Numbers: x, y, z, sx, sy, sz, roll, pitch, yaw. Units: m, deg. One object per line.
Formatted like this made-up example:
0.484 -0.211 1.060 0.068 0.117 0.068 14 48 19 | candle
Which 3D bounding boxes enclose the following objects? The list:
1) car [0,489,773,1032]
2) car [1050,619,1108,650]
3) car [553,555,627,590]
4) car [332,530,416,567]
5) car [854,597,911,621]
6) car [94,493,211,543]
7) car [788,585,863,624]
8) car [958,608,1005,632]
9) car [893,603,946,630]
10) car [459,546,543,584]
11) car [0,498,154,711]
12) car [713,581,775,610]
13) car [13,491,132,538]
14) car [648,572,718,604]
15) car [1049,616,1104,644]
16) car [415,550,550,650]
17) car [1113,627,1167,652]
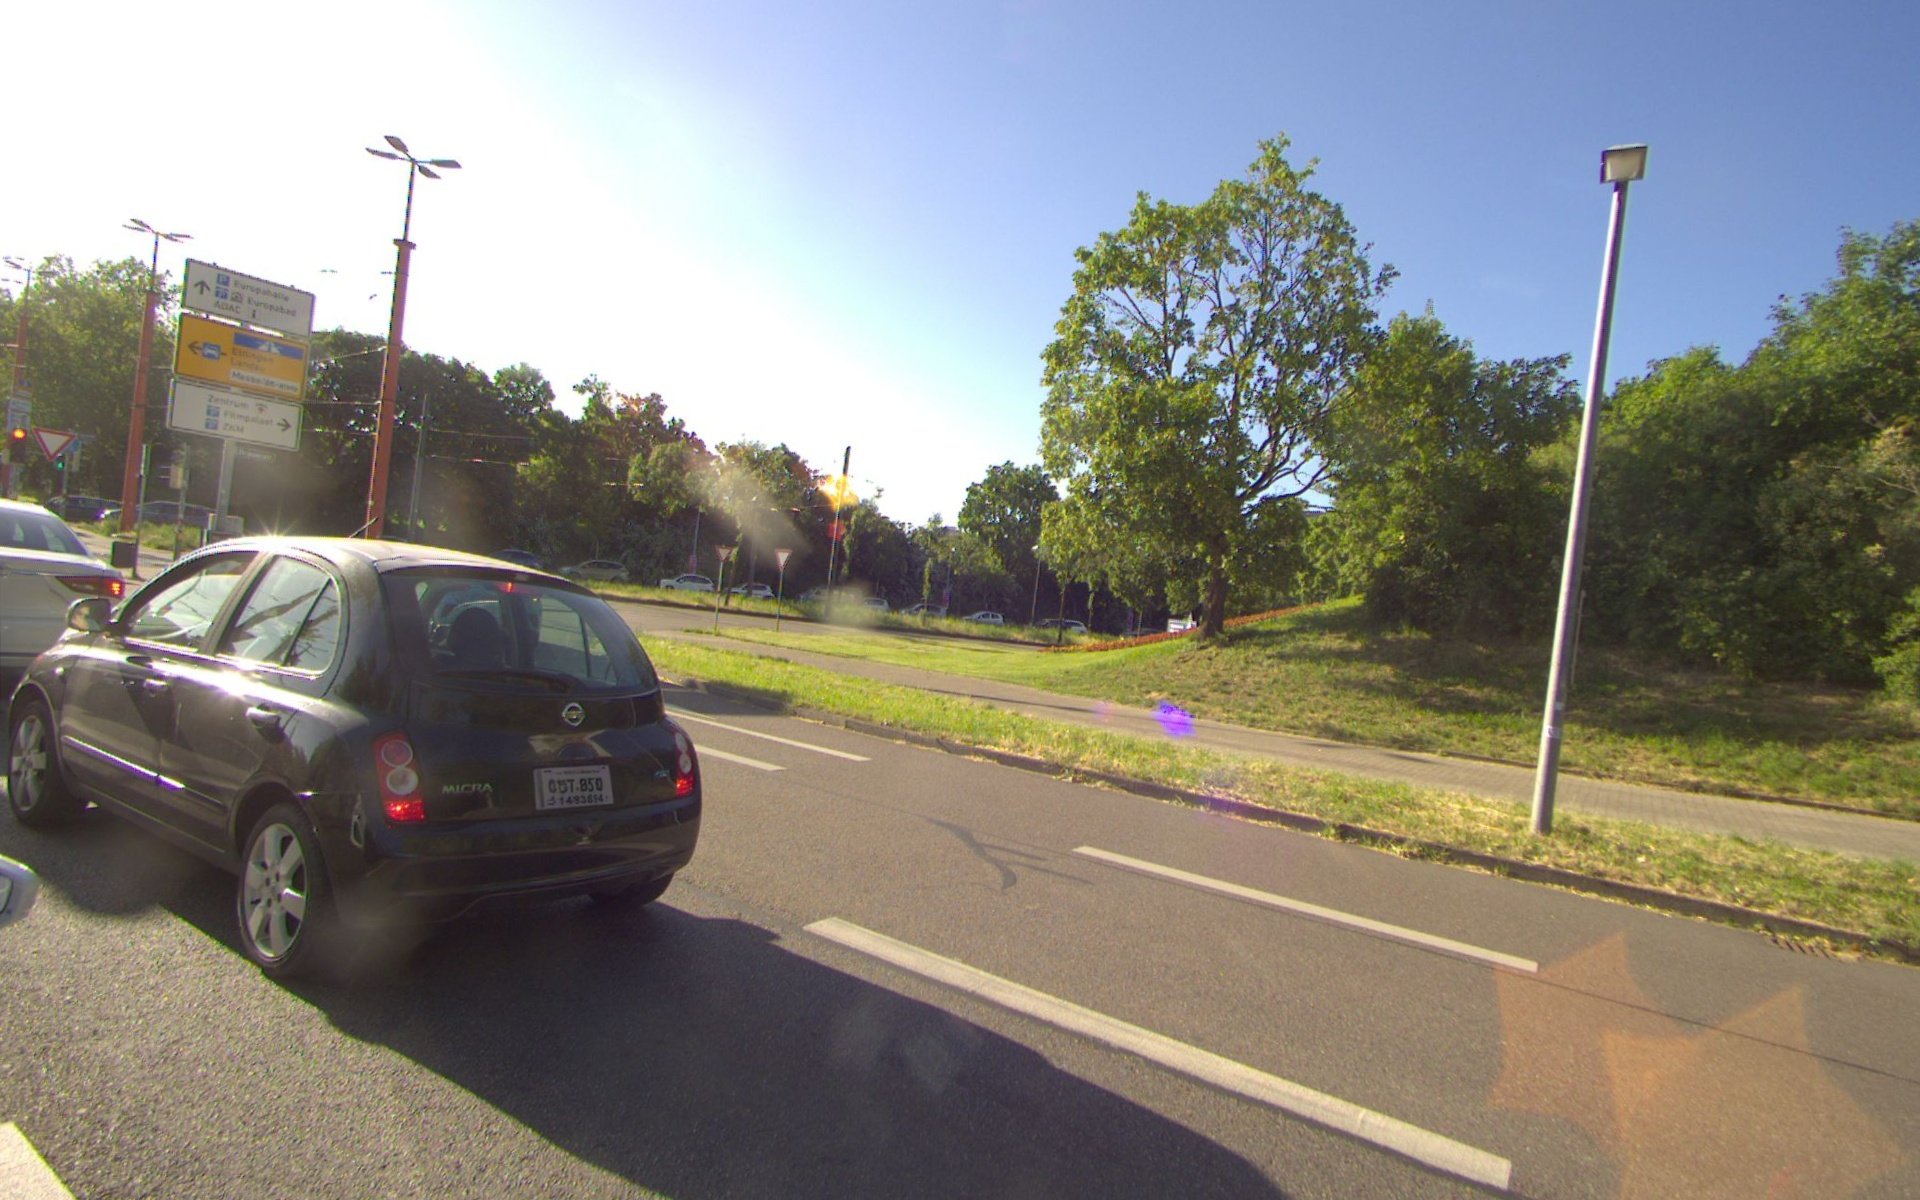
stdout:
-2.846 0.465 4.713 3.555 1.518 1.657 7 -2 32 | car
9.228 2.674 77.709 3.960 1.776 1.903 9 -2 -31 | car
-23.598 -1.775 64.186 4.088 1.663 1.839 8 -1 -30 | car
-33.226 -2.906 57.103 3.937 1.457 1.674 9 -2 -31 | car
-5.756 0.670 74.431 3.804 1.278 1.590 9 -3 -32 | car
-39.770 -4.007 49.695 4.152 1.663 1.746 9 -2 -32 | car
-9.156 0.291 68.432 4.531 2.038 1.987 8 0 -27 | car
1.685 1.532 78.357 3.413 1.384 1.280 9 -2 -31 | car
-2.902 1.156 72.000 3.369 1.475 1.453 8 -1 -31 | car
-26.373 -2.030 57.798 4.089 1.617 1.814 8 -1 -31 | car
-8.346 -0.168 8.013 4.130 1.454 1.723 7 -1 33 | car
-14.704 -0.315 68.510 3.710 1.491 1.587 8 -1 -32 | car
-44.475 -4.254 50.549 4.095 1.528 1.808 9 -2 -32 | car
-17.455 -0.746 63.412 3.790 1.541 1.682 8 -1 -30 | car
9.622 2.483 82.907 4.195 1.701 1.690 8 -1 -29 | car
-9.004 -0.064 18.790 1.722 1.468 4.097 7 0 -32 | car
14.651 3.212 81.798 3.959 1.466 1.801 9 -2 -30 | car
